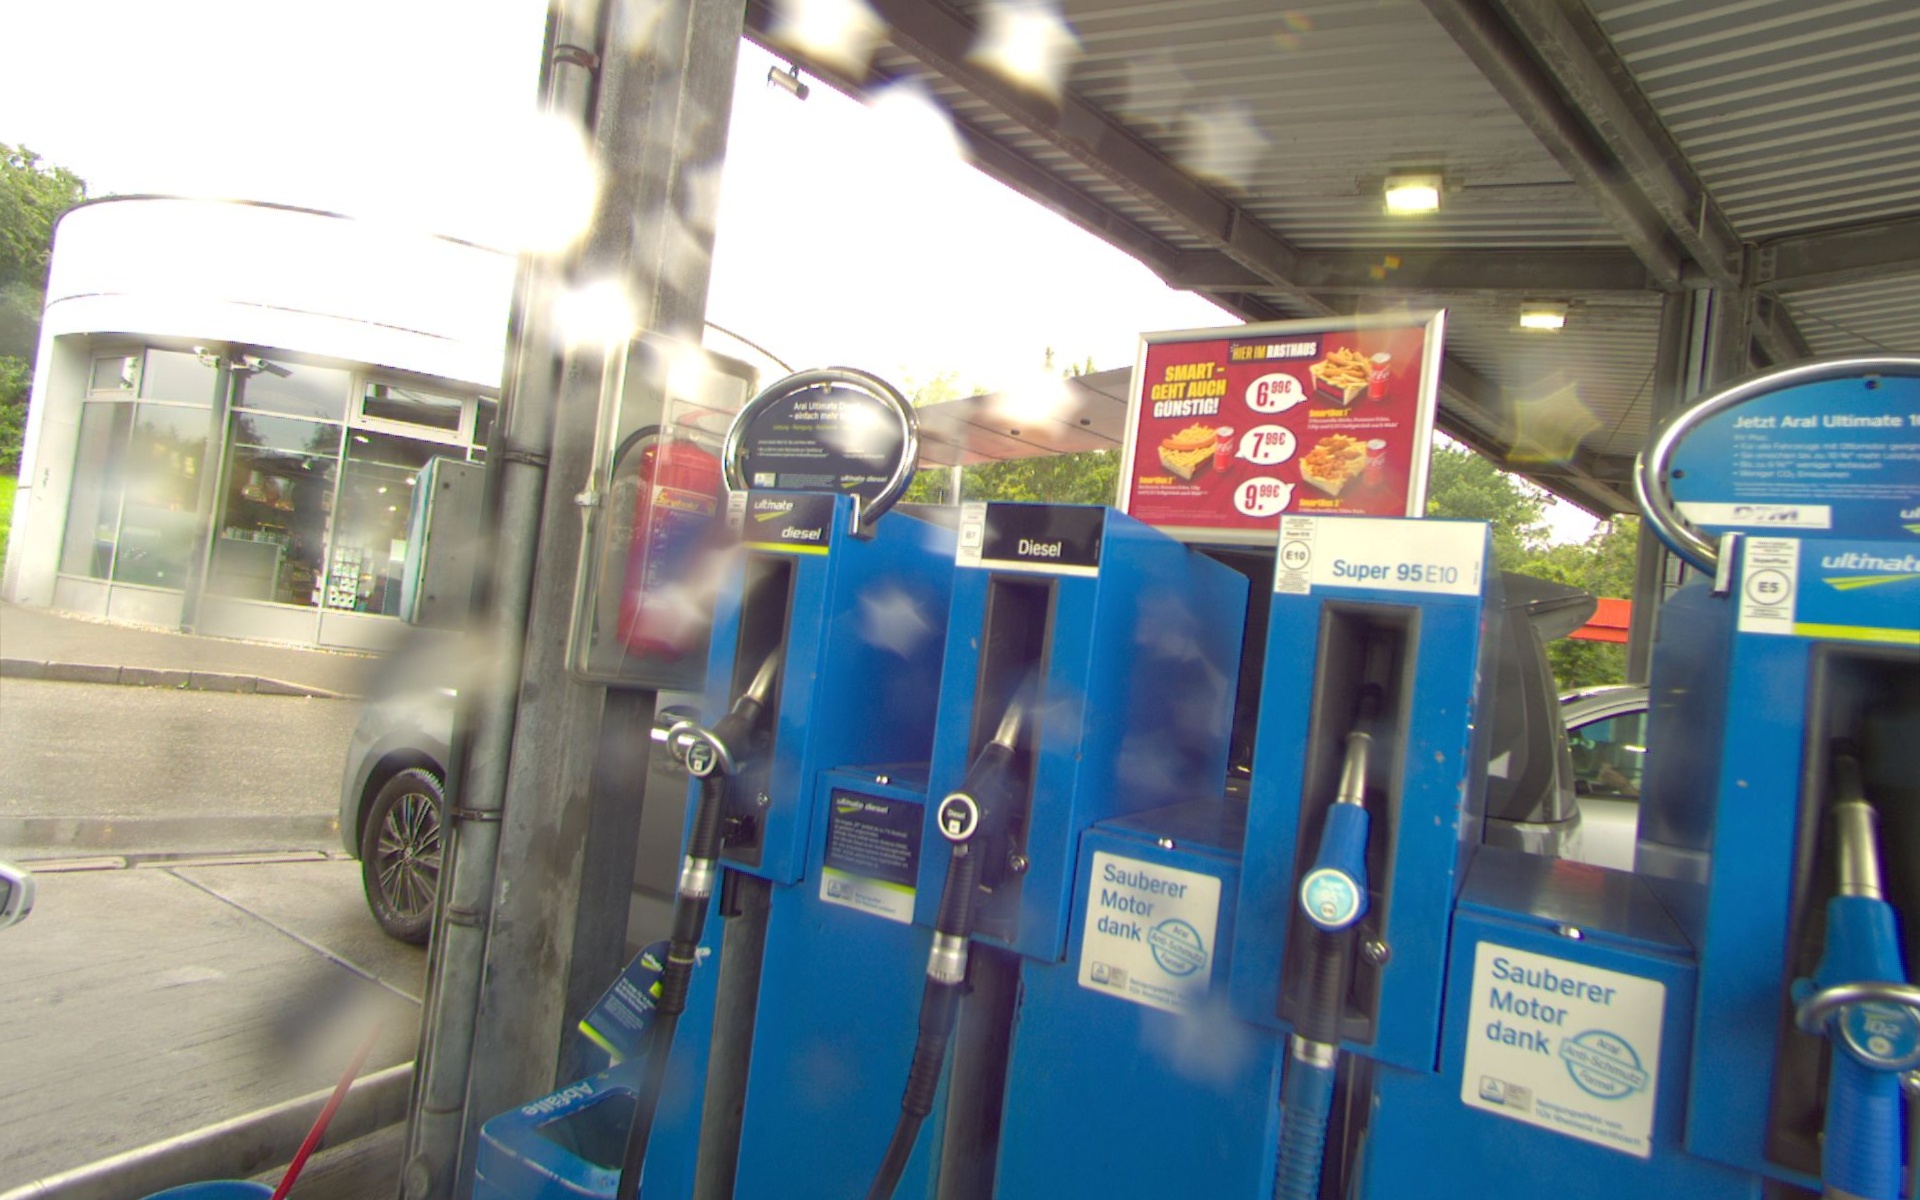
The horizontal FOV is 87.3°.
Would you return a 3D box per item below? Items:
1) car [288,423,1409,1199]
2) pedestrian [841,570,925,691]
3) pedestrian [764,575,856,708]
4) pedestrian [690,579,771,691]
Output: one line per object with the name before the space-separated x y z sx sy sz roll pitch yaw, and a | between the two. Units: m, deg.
car | -0.585 0.520 3.979 3.934 1.971 1.819 7 -1 32
pedestrian | -1.319 0.525 17.302 0.991 1.917 0.716 7 0 34
pedestrian | -2.276 0.624 15.256 0.965 1.871 0.767 7 0 -30
pedestrian | -3.495 0.526 15.310 0.882 1.569 0.655 7 0 -29
